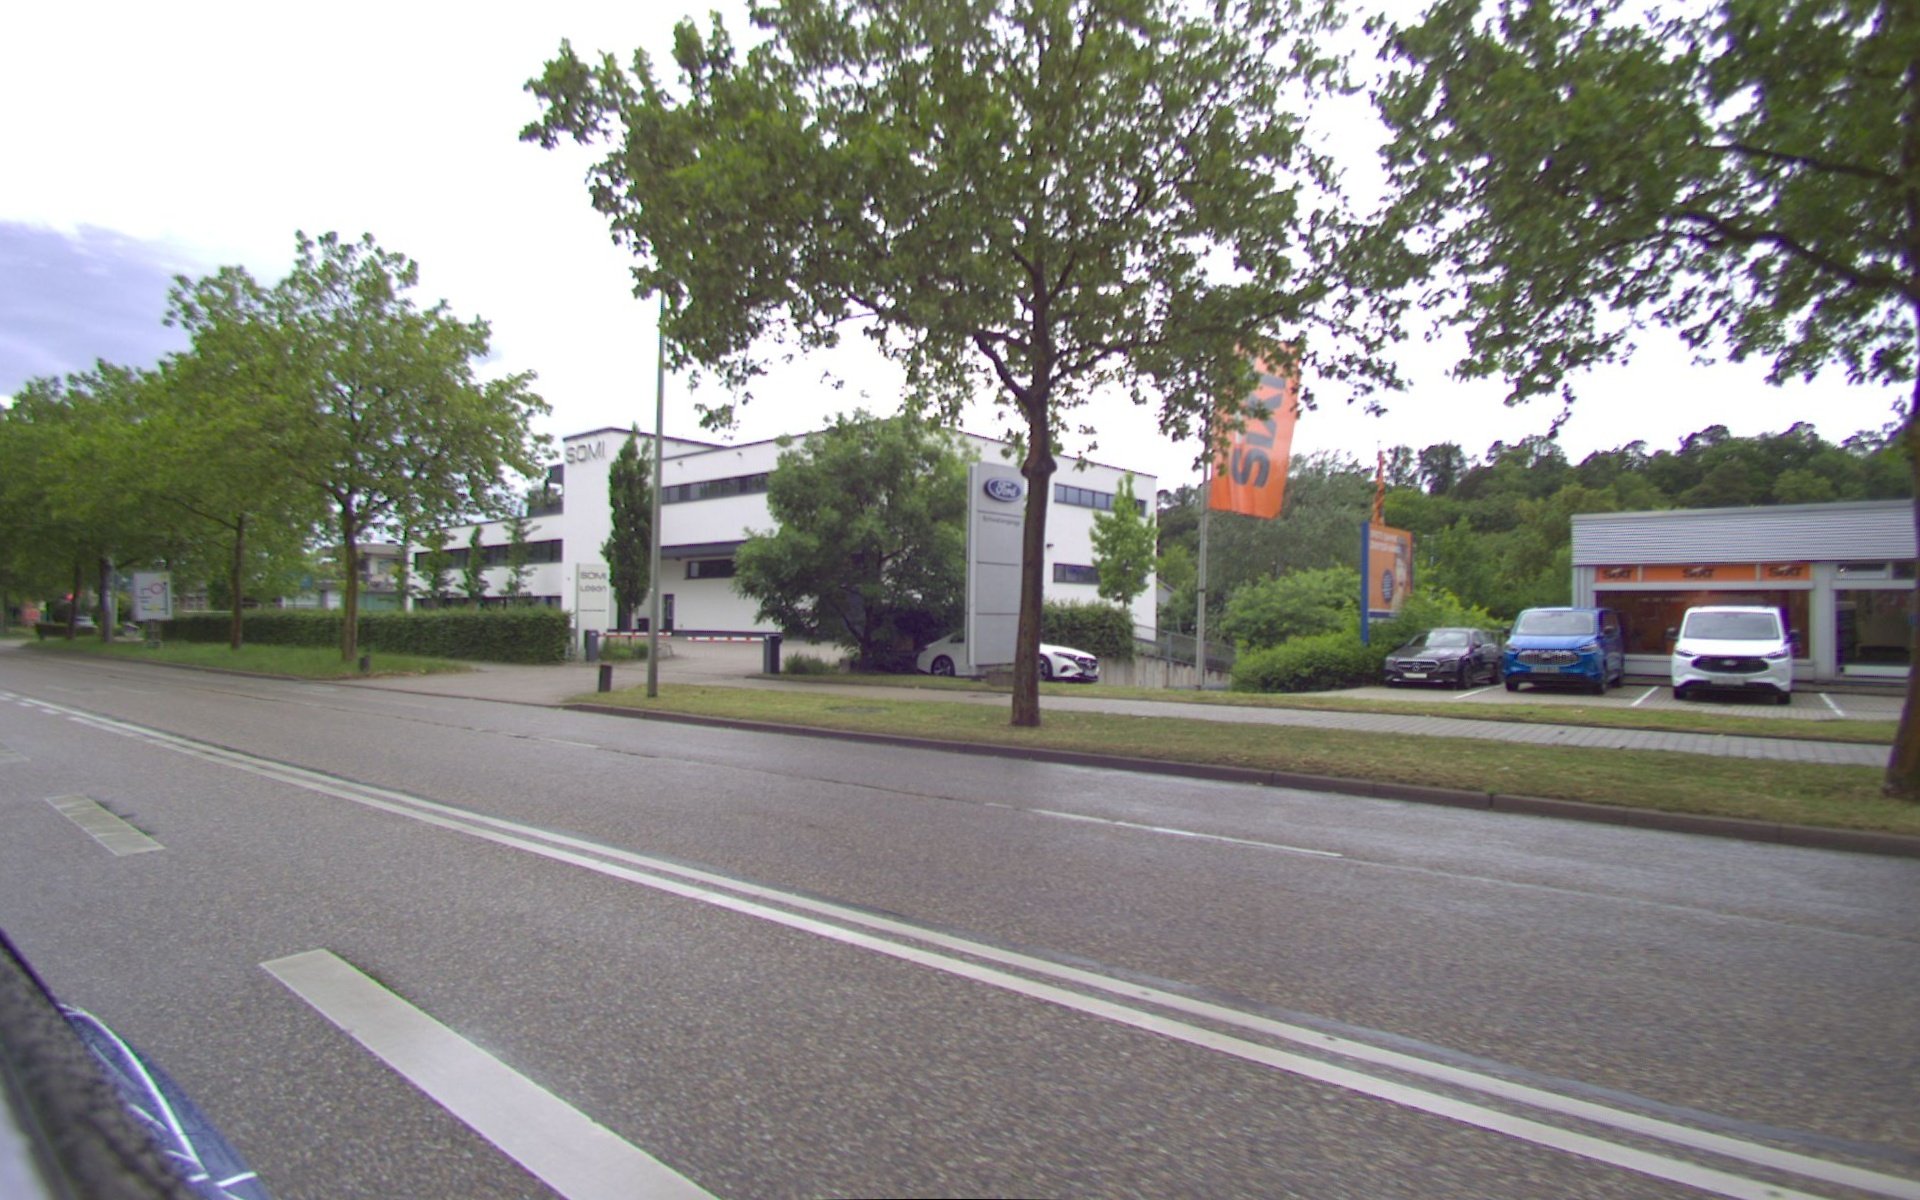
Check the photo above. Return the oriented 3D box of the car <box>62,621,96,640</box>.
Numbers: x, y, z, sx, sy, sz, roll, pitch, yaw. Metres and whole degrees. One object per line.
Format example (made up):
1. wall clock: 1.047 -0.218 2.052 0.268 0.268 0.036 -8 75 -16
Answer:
1. car: -77.583 2.665 89.136 3.999 1.545 1.723 -1 -4 42

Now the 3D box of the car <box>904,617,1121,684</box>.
1. car: 1.228 1.205 25.353 5.242 1.507 2.097 -1 -2 40

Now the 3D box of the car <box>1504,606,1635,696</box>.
1. car: 14.300 1.149 23.640 1.962 1.904 3.945 -1 -2 41

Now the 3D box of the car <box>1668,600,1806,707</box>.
1. car: 16.791 1.092 21.894 2.127 2.029 4.996 -1 -2 38

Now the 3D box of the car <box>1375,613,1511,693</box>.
1. car: 12.150 1.267 25.327 2.065 1.827 4.083 -1 -2 41
